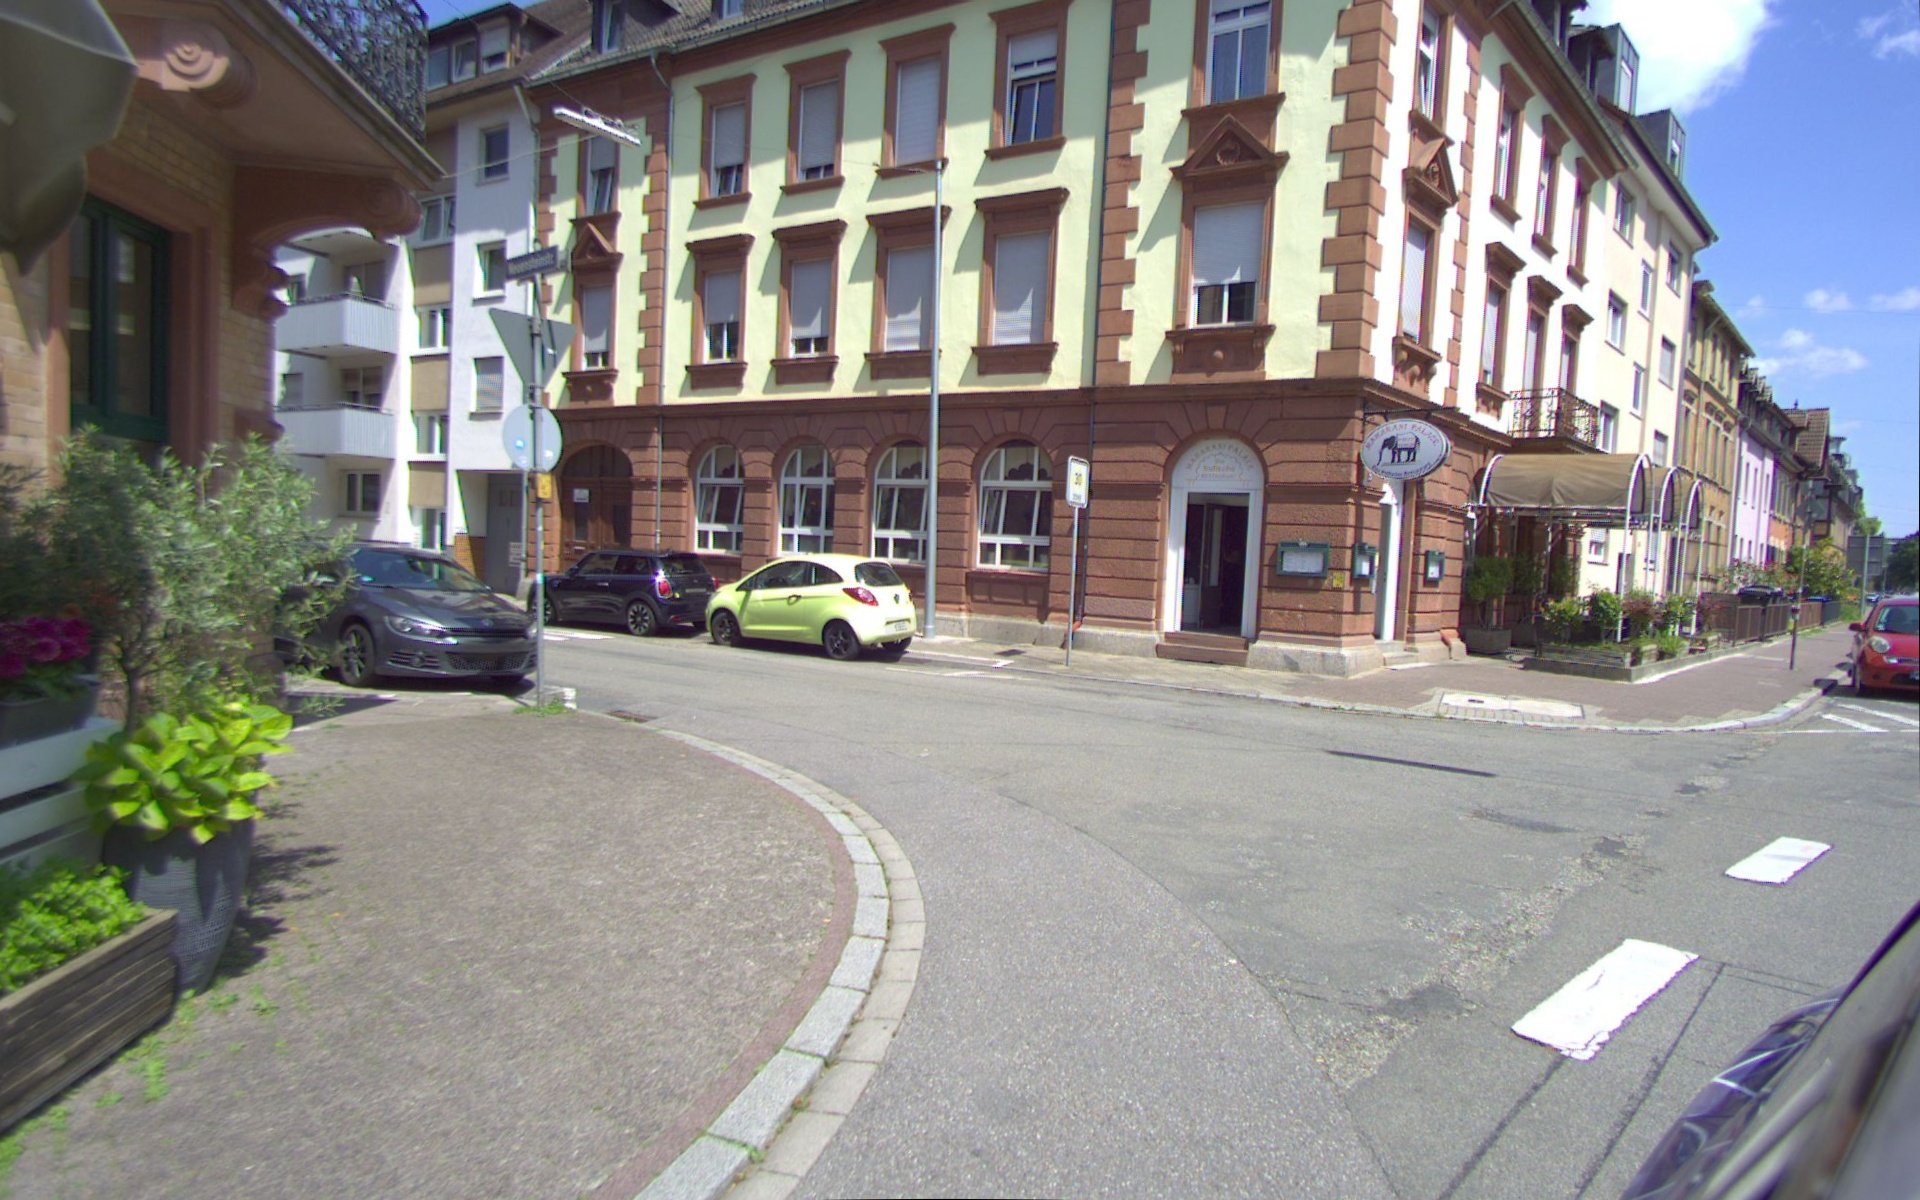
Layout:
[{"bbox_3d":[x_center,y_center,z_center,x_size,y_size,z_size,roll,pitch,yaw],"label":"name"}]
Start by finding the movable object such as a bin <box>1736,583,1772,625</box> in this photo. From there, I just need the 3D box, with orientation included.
[{"bbox_3d":[24.003,0.111,30.582,0.722,1.182,0.735,5,4,43],"label":"movable object such as a bin"}]

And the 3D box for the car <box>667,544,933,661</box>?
[{"bbox_3d":[-2.562,-0.065,15.929,3.970,1.496,1.785,4,5,32],"label":"car"}]

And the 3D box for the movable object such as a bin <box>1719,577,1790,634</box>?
[{"bbox_3d":[21.461,0.128,27.339,1.390,1.413,1.283,0,4,-45],"label":"movable object such as a bin"}]

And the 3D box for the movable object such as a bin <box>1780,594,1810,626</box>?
[{"bbox_3d":[25.630,0.295,31.057,0.625,0.939,0.602,5,4,43],"label":"movable object such as a bin"}]

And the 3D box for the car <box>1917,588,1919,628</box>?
[{"bbox_3d":[38.126,0.299,39.072,1.704,1.497,3.869,2,2,44],"label":"car"}]

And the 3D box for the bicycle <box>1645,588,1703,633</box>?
[{"bbox_3d":[16.953,0.243,24.017,1.598,0.995,0.553,1,3,-34],"label":"bicycle"}]

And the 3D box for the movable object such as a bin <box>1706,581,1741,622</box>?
[{"bbox_3d":[23.448,0.043,31.077,0.722,1.182,0.735,5,4,43],"label":"movable object such as a bin"}]

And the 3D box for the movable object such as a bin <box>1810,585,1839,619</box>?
[{"bbox_3d":[33.548,0.081,39.269,0.751,1.257,0.863,5,4,43],"label":"movable object such as a bin"}]

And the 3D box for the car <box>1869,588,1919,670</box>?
[{"bbox_3d":[19.045,0.526,19.708,3.867,1.497,1.759,0,2,-45],"label":"car"}]

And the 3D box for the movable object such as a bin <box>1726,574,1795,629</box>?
[{"bbox_3d":[22.424,0.028,28.348,1.342,1.413,1.283,0,4,-45],"label":"movable object such as a bin"}]

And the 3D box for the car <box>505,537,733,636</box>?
[{"bbox_3d":[-6.124,-0.332,18.098,3.970,1.496,1.785,4,5,32],"label":"car"}]

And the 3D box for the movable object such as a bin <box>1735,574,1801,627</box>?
[{"bbox_3d":[23.384,-0.004,29.294,1.283,1.427,1.283,0,4,-45],"label":"movable object such as a bin"}]

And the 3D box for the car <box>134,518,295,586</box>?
[{"bbox_3d":[-18.296,-1.216,24.815,3.966,1.496,1.714,3,5,30],"label":"car"}]

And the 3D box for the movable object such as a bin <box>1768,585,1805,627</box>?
[{"bbox_3d":[24.545,0.169,30.055,0.722,1.202,0.735,5,4,43],"label":"movable object such as a bin"}]

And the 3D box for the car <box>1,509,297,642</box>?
[{"bbox_3d":[-11.232,-0.400,13.963,4.104,1.555,1.896,4,2,31],"label":"car"}]

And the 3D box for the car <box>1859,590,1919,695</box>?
[{"bbox_3d":[15.124,0.604,15.648,1.756,1.497,3.727,2,1,41],"label":"car"}]

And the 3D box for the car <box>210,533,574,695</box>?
[{"bbox_3d":[-6.244,0.046,11.015,3.974,1.381,1.893,4,3,34],"label":"car"}]

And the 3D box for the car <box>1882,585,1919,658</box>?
[{"bbox_3d":[22.433,0.457,23.170,3.999,1.571,1.759,0,2,-45],"label":"car"}]

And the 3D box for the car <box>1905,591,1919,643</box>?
[{"bbox_3d":[29.736,0.484,30.524,1.757,1.497,4.350,2,2,43],"label":"car"}]
